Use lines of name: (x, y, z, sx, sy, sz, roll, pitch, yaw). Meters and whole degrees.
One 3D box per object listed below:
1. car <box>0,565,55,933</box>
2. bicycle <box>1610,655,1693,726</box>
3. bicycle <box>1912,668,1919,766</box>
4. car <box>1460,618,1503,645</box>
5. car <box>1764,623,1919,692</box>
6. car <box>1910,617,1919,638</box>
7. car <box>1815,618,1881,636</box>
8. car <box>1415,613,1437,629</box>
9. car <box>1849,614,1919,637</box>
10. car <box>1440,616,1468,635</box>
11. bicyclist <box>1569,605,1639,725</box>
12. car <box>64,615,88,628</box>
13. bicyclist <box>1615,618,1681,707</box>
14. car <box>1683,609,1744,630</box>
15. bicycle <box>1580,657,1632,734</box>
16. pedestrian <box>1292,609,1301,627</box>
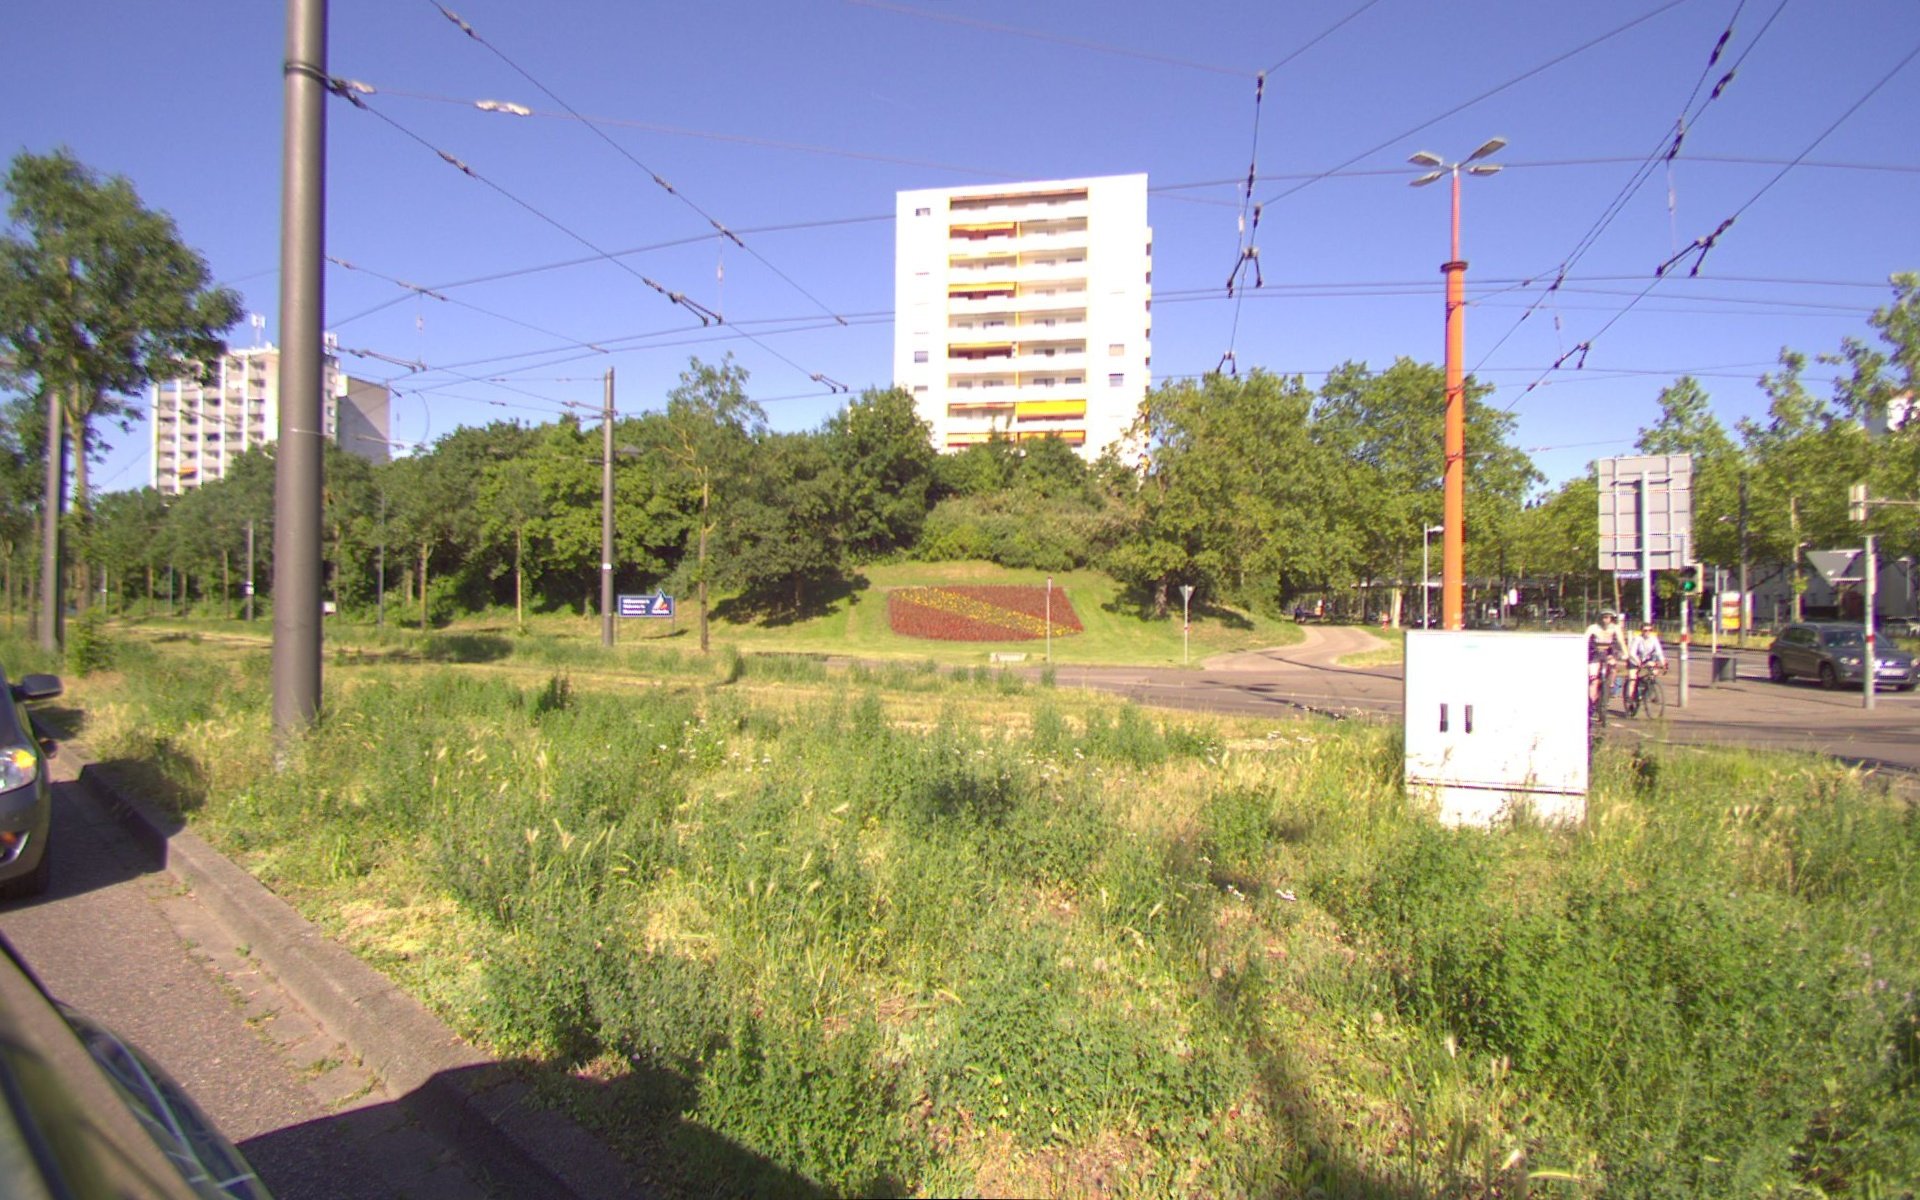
car: (-6.259, 0.695, 5.384, 3.999, 1.652, 1.726, -1, 0, 42)
bicycle: (12.373, 1.589, 18.168, 0.574, 1.079, 1.907, 0, 0, 14)
bicycle: (10.626, 1.277, 10.372, 0.688, 1.080, 1.899, 0, -2, 25)
car: (32.391, 1.944, 62.945, 1.904, 1.507, 3.973, 0, 0, 20)
car: (22.606, 1.395, 25.740, 1.901, 1.507, 4.025, 0, 0, 15)
car: (63.759, 1.809, 64.970, 1.472, 1.341, 3.746, -1, 0, -26)
car: (64.583, 1.978, 73.644, 1.424, 1.197, 3.424, -1, 0, -41)
car: (48.572, 2.186, 105.620, 1.833, 1.507, 3.972, 0, 0, 21)
car: (63.933, 1.749, 69.800, 1.589, 1.471, 3.656, -1, 0, -37)
car: (42.935, 2.214, 88.022, 1.906, 1.507, 3.969, 0, 0, 23)
bicyclist: (10.568, 1.034, 16.644, 0.889, 1.881, 0.915, 0, 0, 28)
car: (-97.485, 2.340, 111.580, 3.909, 1.431, 1.557, -1, -1, 42)
bicyclist: (12.350, 1.097, 18.193, 0.714, 1.536, 0.919, 0, 0, 15)
car: (72.612, 1.844, 97.567, 1.909, 1.999, 4.351, 1, -1, -37)
bicycle: (10.638, 1.541, 16.705, 0.577, 1.079, 1.897, 0, 0, 29)
pedestrian: (29.777, 1.593, 89.589, 0.682, 1.568, 0.984, 0, -2, 21)
